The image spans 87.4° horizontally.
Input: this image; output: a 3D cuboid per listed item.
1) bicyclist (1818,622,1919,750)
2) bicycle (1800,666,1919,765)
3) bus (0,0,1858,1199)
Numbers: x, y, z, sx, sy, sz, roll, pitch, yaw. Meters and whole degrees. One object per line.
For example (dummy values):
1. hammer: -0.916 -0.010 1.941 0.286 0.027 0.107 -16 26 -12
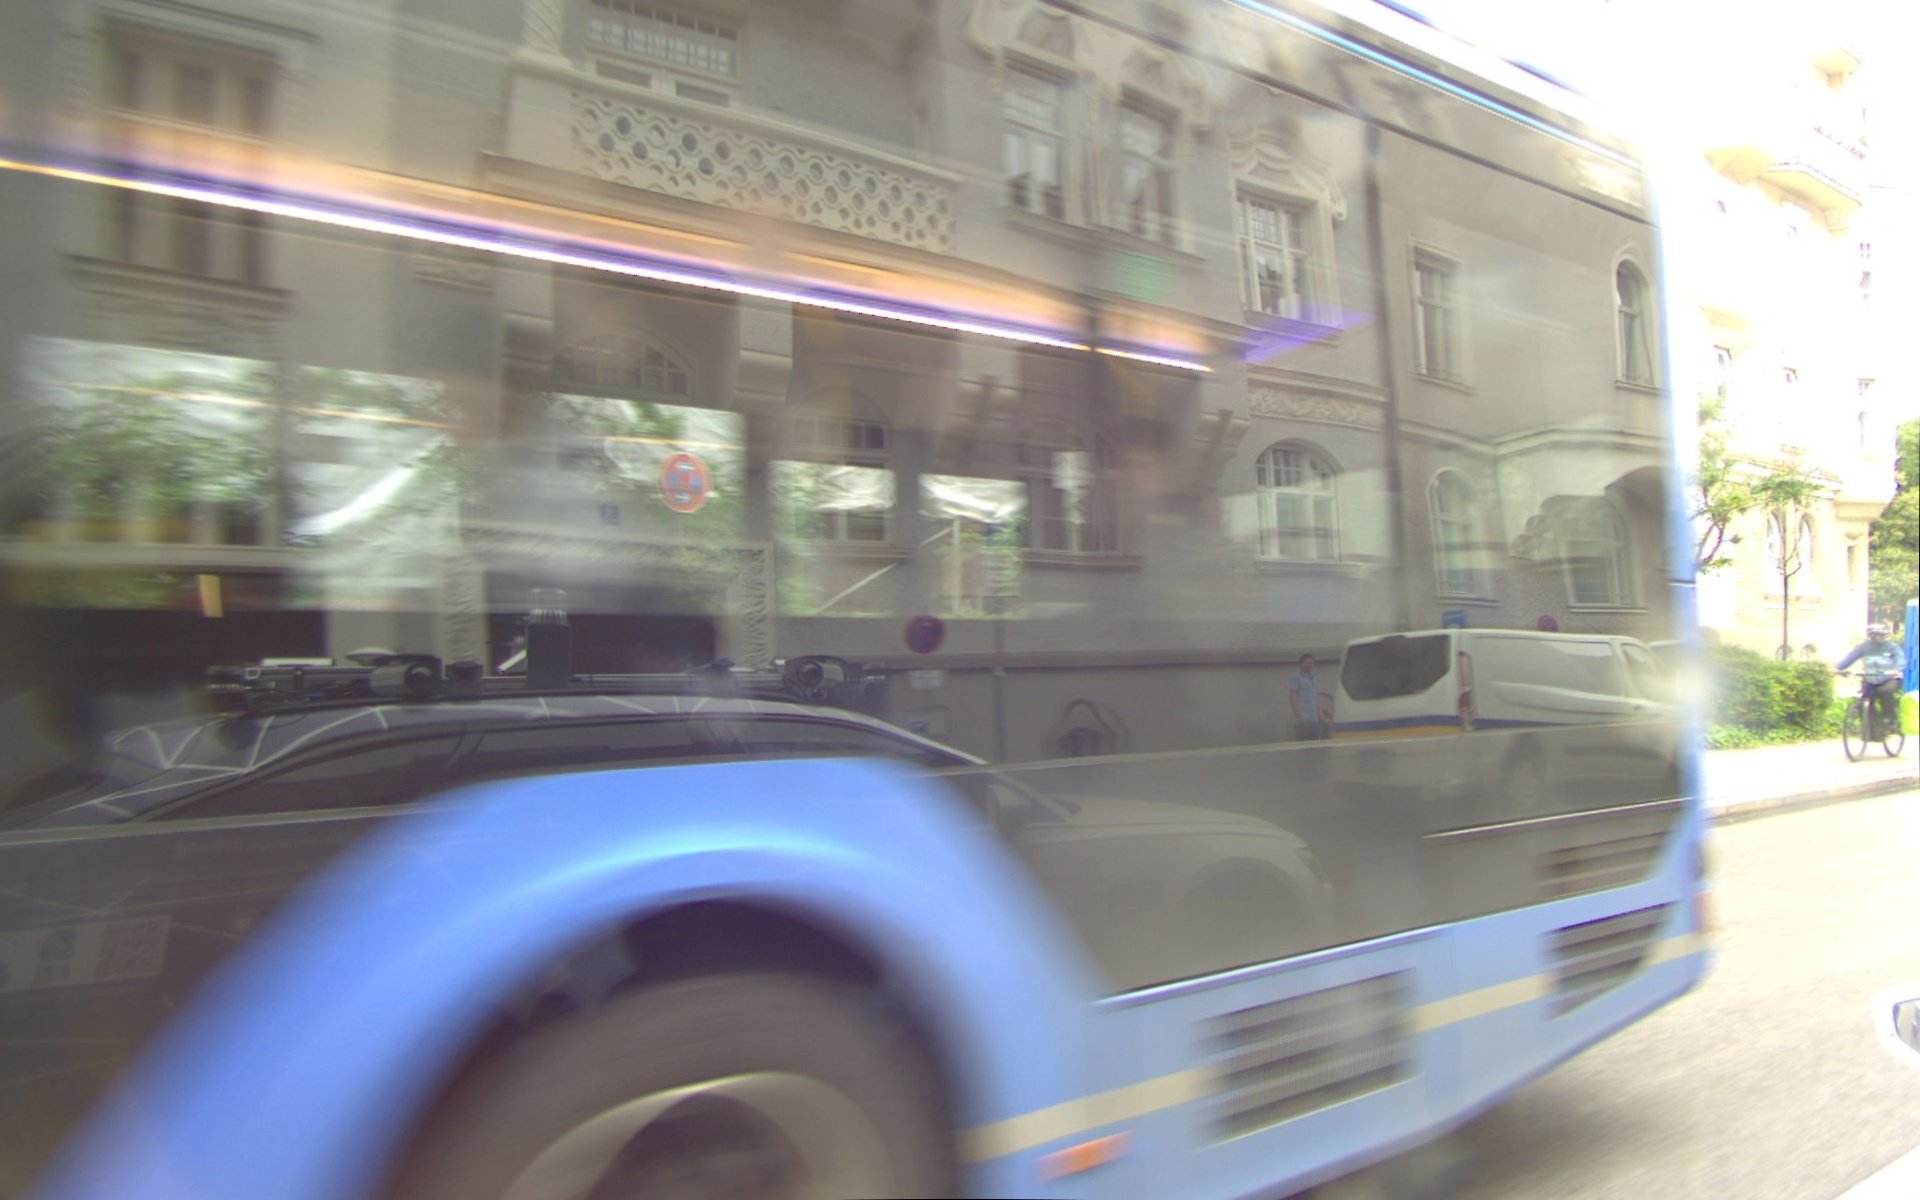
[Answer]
1. bicyclist: 11.483 1.046 12.617 1.048 1.512 0.764 1 0 -31
2. bicycle: 11.455 1.409 12.615 2.026 1.096 0.764 2 0 -31
3. bus: -5.587 -0.488 0.321 17.840 3.254 3.158 2 -3 -30
